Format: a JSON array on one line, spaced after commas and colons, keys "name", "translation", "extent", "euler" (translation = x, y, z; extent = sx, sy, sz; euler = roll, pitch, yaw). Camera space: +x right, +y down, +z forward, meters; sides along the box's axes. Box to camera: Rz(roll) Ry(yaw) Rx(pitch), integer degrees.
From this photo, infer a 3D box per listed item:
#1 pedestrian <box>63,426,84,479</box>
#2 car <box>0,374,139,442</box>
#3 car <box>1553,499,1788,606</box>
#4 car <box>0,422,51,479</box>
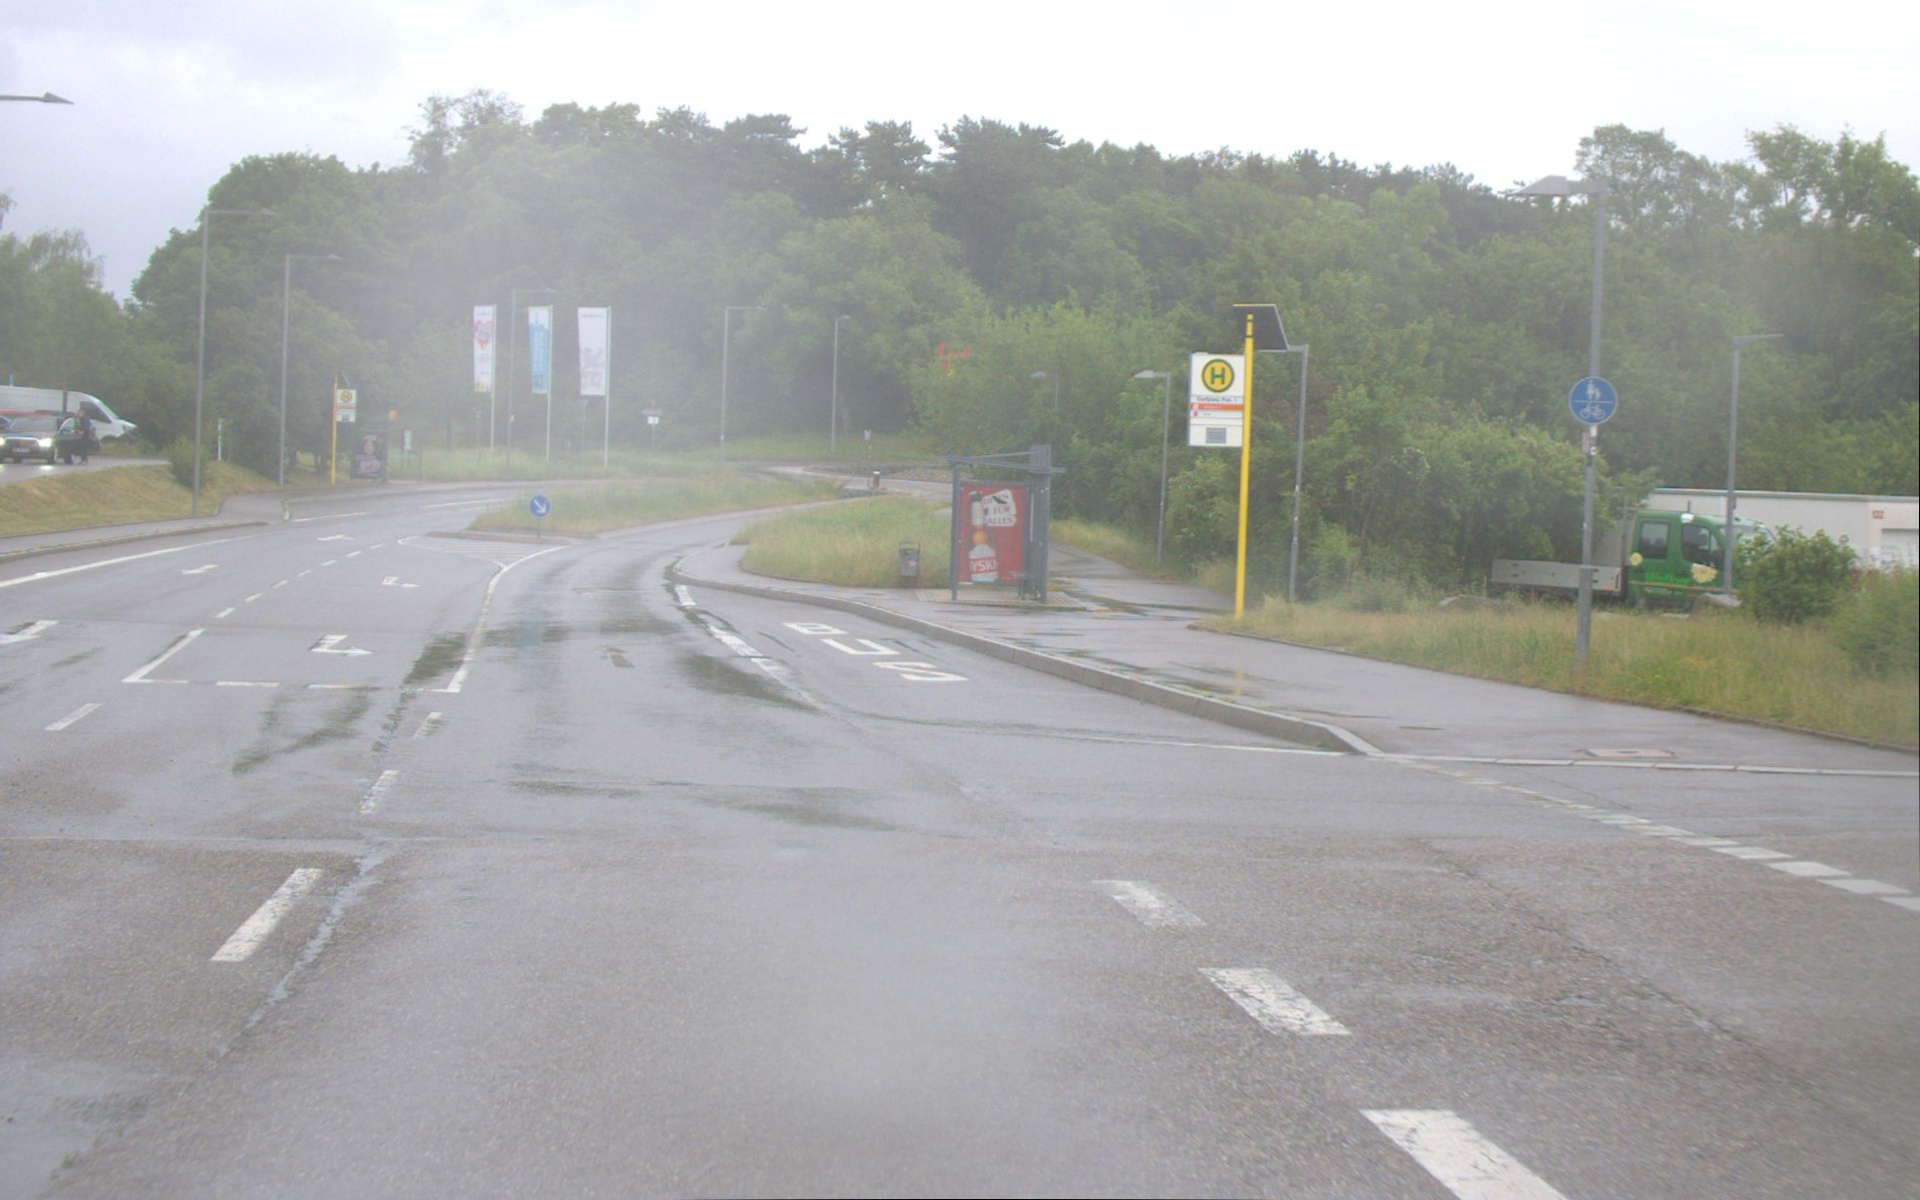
[{"name": "pedestrian", "translation": [-27.505, -4.568, 106.657], "extent": [0.565, 1.615, 0.637], "euler": [2, 0, -18]}, {"name": "car", "translation": [-35.790, -7.658, 137.108], "extent": [5.675, 2.396, 2.000], "euler": [2, 0, -7]}, {"name": "car", "translation": [12.393, -0.815, 60.023], "extent": [3.421, 1.685, 1.995], "euler": [1, -4, 43]}, {"name": "car", "translation": [-28.944, -4.588, 105.626], "extent": [1.688, 1.615, 3.896], "euler": [2, 1, -18]}]
